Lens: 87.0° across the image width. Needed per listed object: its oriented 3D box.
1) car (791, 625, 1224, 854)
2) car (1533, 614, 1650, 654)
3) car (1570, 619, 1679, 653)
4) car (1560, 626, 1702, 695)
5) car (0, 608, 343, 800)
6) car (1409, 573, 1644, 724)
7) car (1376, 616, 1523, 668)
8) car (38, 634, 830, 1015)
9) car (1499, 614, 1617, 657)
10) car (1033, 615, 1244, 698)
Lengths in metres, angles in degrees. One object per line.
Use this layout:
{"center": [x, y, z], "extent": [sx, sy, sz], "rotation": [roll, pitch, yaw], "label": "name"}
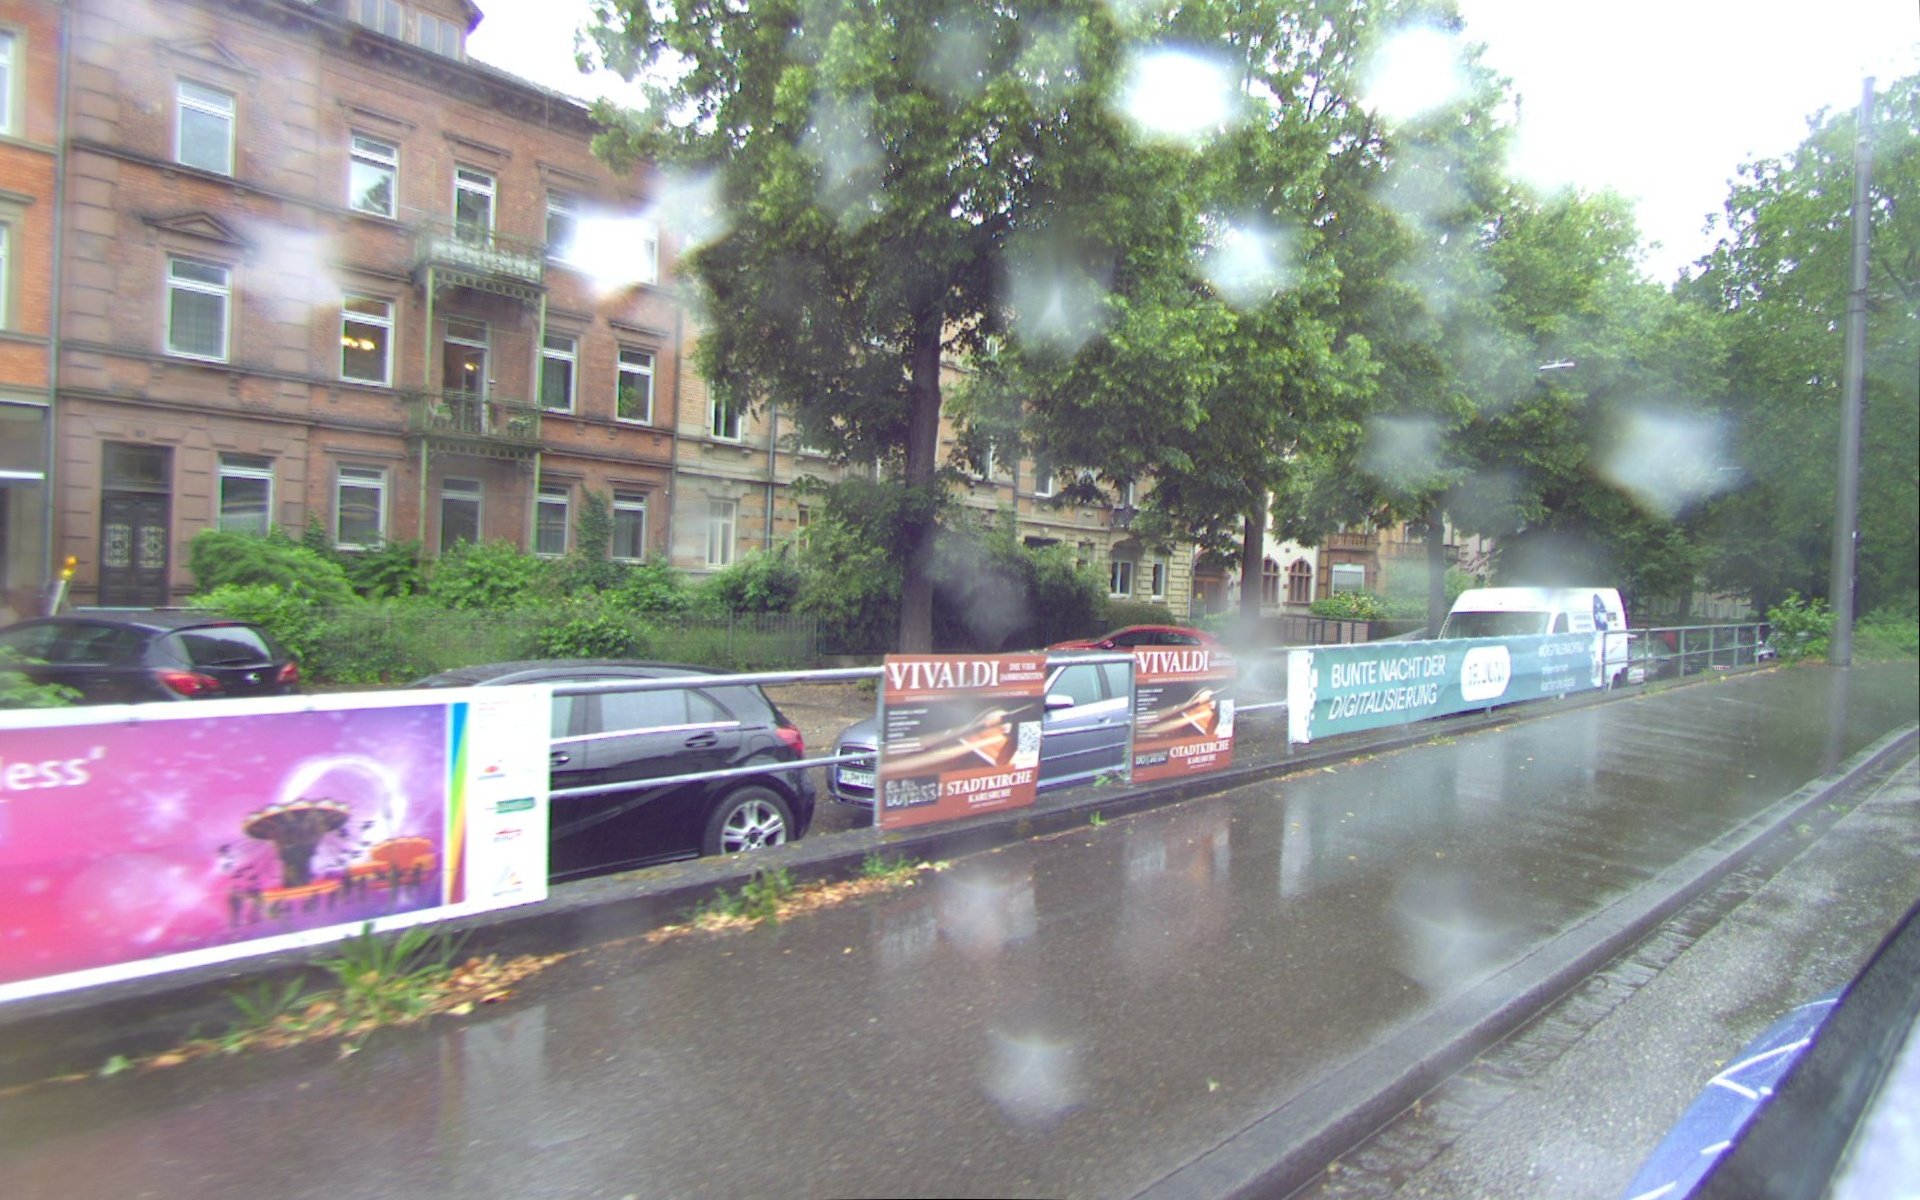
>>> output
{"center": [0.598, 1.075, 9.436], "extent": [4.005, 1.559, 1.734], "rotation": [0, 0, -43], "label": "car"}
{"center": [27.960, 1.494, 44.915], "extent": [3.942, 1.585, 1.991], "rotation": [1, 1, 15], "label": "car"}
{"center": [31.669, 1.695, 48.350], "extent": [3.942, 1.482, 1.904], "rotation": [1, 1, 15], "label": "car"}
{"center": [16.043, 1.366, 24.120], "extent": [4.312, 1.370, 1.968], "rotation": [0, 0, -44], "label": "car"}
{"center": [-8.968, 0.988, 10.492], "extent": [3.923, 1.735, 2.001], "rotation": [1, 0, -1], "label": "car"}
{"center": [10.950, 0.783, 19.299], "extent": [6.055, 2.451, 2.211], "rotation": [0, 0, -43], "label": "car"}
{"center": [16.102, 1.362, 33.520], "extent": [4.214, 1.397, 1.679], "rotation": [2, 2, 23], "label": "car"}
{"center": [-2.897, 0.998, 6.135], "extent": [3.903, 1.417, 1.706], "rotation": [0, 1, -41], "label": "car"}
{"center": [25.186, 1.460, 42.796], "extent": [3.948, 1.629, 1.814], "rotation": [1, 1, 19], "label": "car"}
{"center": [3.961, 1.177, 22.318], "extent": [4.372, 1.471, 1.888], "rotation": [2, 1, 18], "label": "car"}
